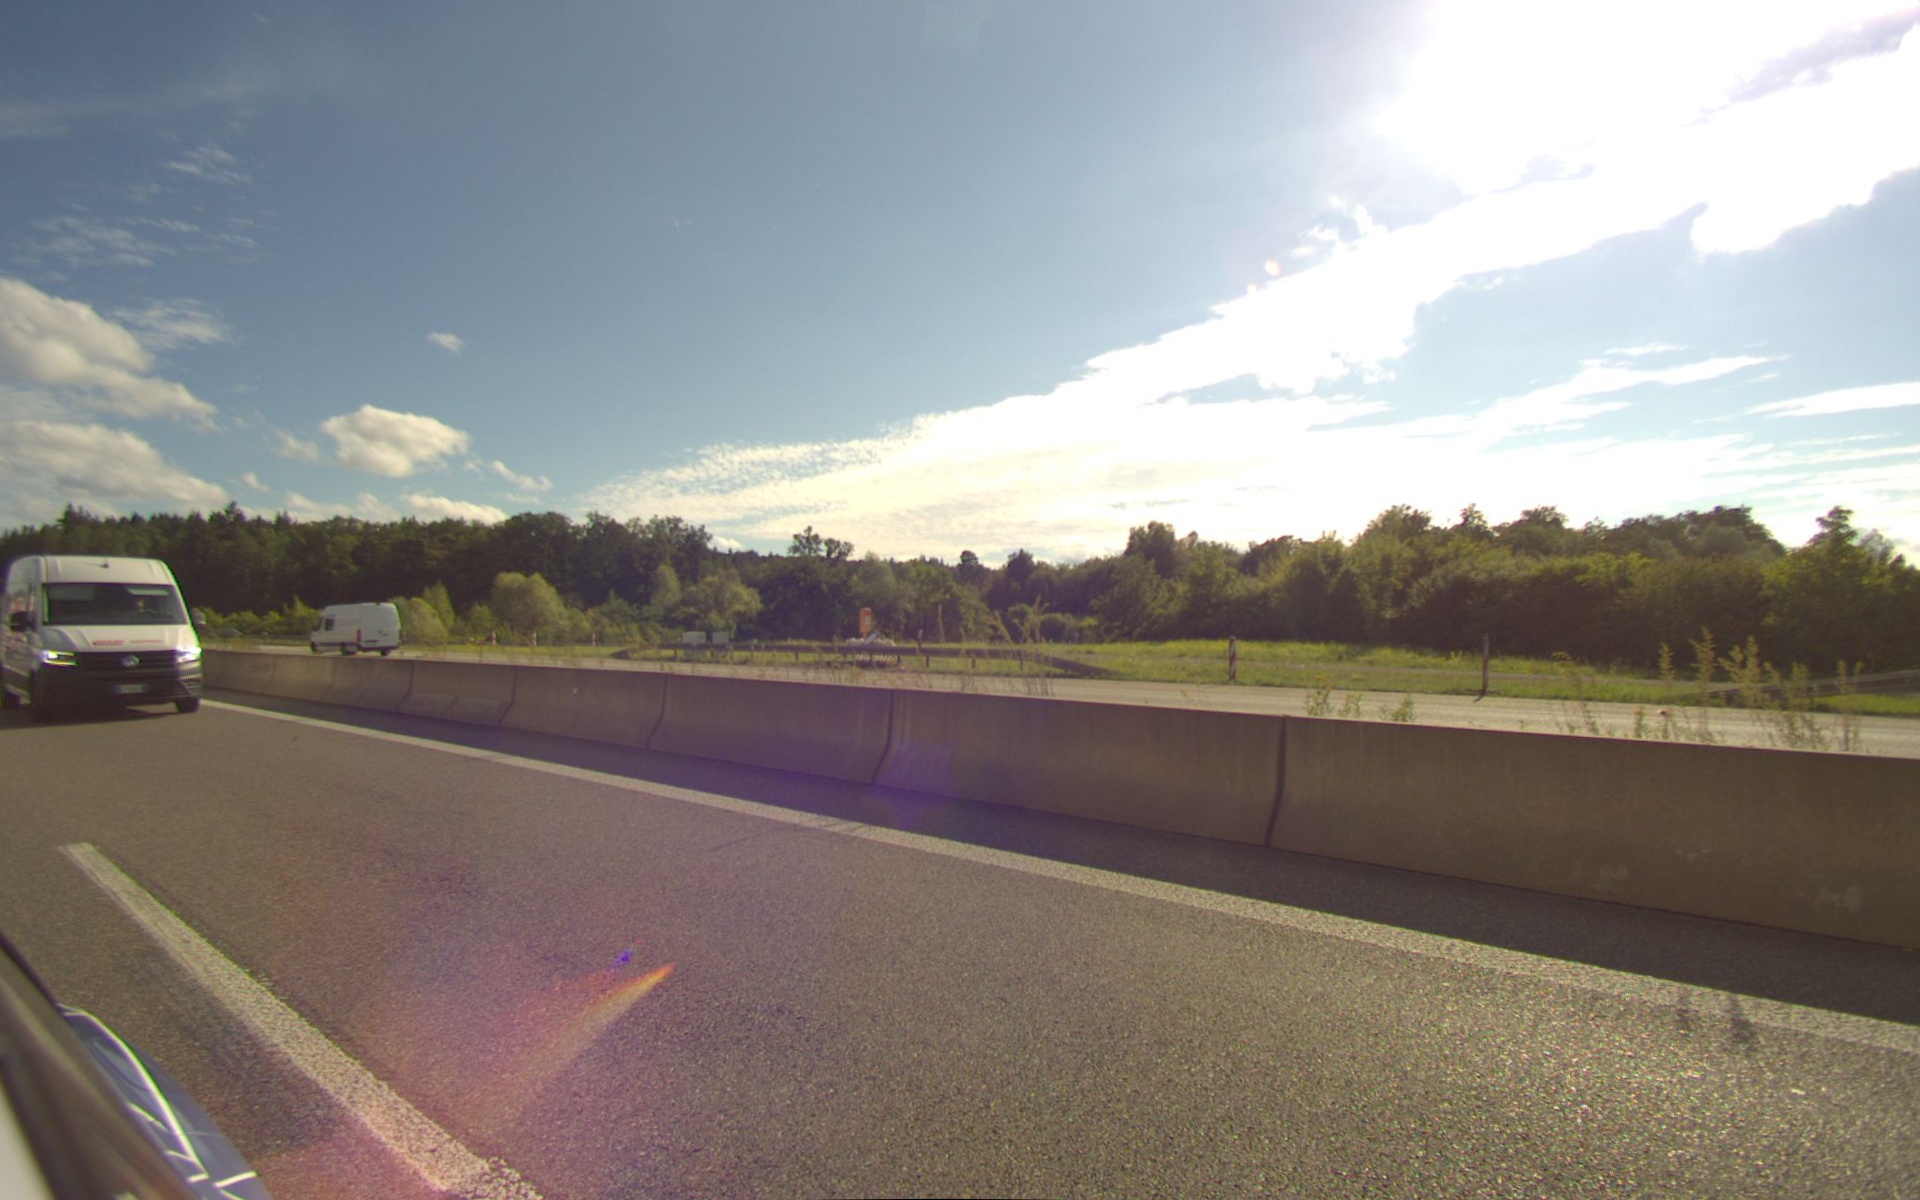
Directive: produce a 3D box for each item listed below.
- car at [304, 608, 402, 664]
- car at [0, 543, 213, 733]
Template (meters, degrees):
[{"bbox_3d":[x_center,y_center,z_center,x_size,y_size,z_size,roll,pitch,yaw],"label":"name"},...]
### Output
[{"bbox_3d":[-30.579,1.740,50.865,7.317,2.598,2.012,-1,0,41],"label":"car"},{"bbox_3d":[-14.426,0.610,16.760,6.177,2.619,1.994,-2,-1,41],"label":"car"}]
